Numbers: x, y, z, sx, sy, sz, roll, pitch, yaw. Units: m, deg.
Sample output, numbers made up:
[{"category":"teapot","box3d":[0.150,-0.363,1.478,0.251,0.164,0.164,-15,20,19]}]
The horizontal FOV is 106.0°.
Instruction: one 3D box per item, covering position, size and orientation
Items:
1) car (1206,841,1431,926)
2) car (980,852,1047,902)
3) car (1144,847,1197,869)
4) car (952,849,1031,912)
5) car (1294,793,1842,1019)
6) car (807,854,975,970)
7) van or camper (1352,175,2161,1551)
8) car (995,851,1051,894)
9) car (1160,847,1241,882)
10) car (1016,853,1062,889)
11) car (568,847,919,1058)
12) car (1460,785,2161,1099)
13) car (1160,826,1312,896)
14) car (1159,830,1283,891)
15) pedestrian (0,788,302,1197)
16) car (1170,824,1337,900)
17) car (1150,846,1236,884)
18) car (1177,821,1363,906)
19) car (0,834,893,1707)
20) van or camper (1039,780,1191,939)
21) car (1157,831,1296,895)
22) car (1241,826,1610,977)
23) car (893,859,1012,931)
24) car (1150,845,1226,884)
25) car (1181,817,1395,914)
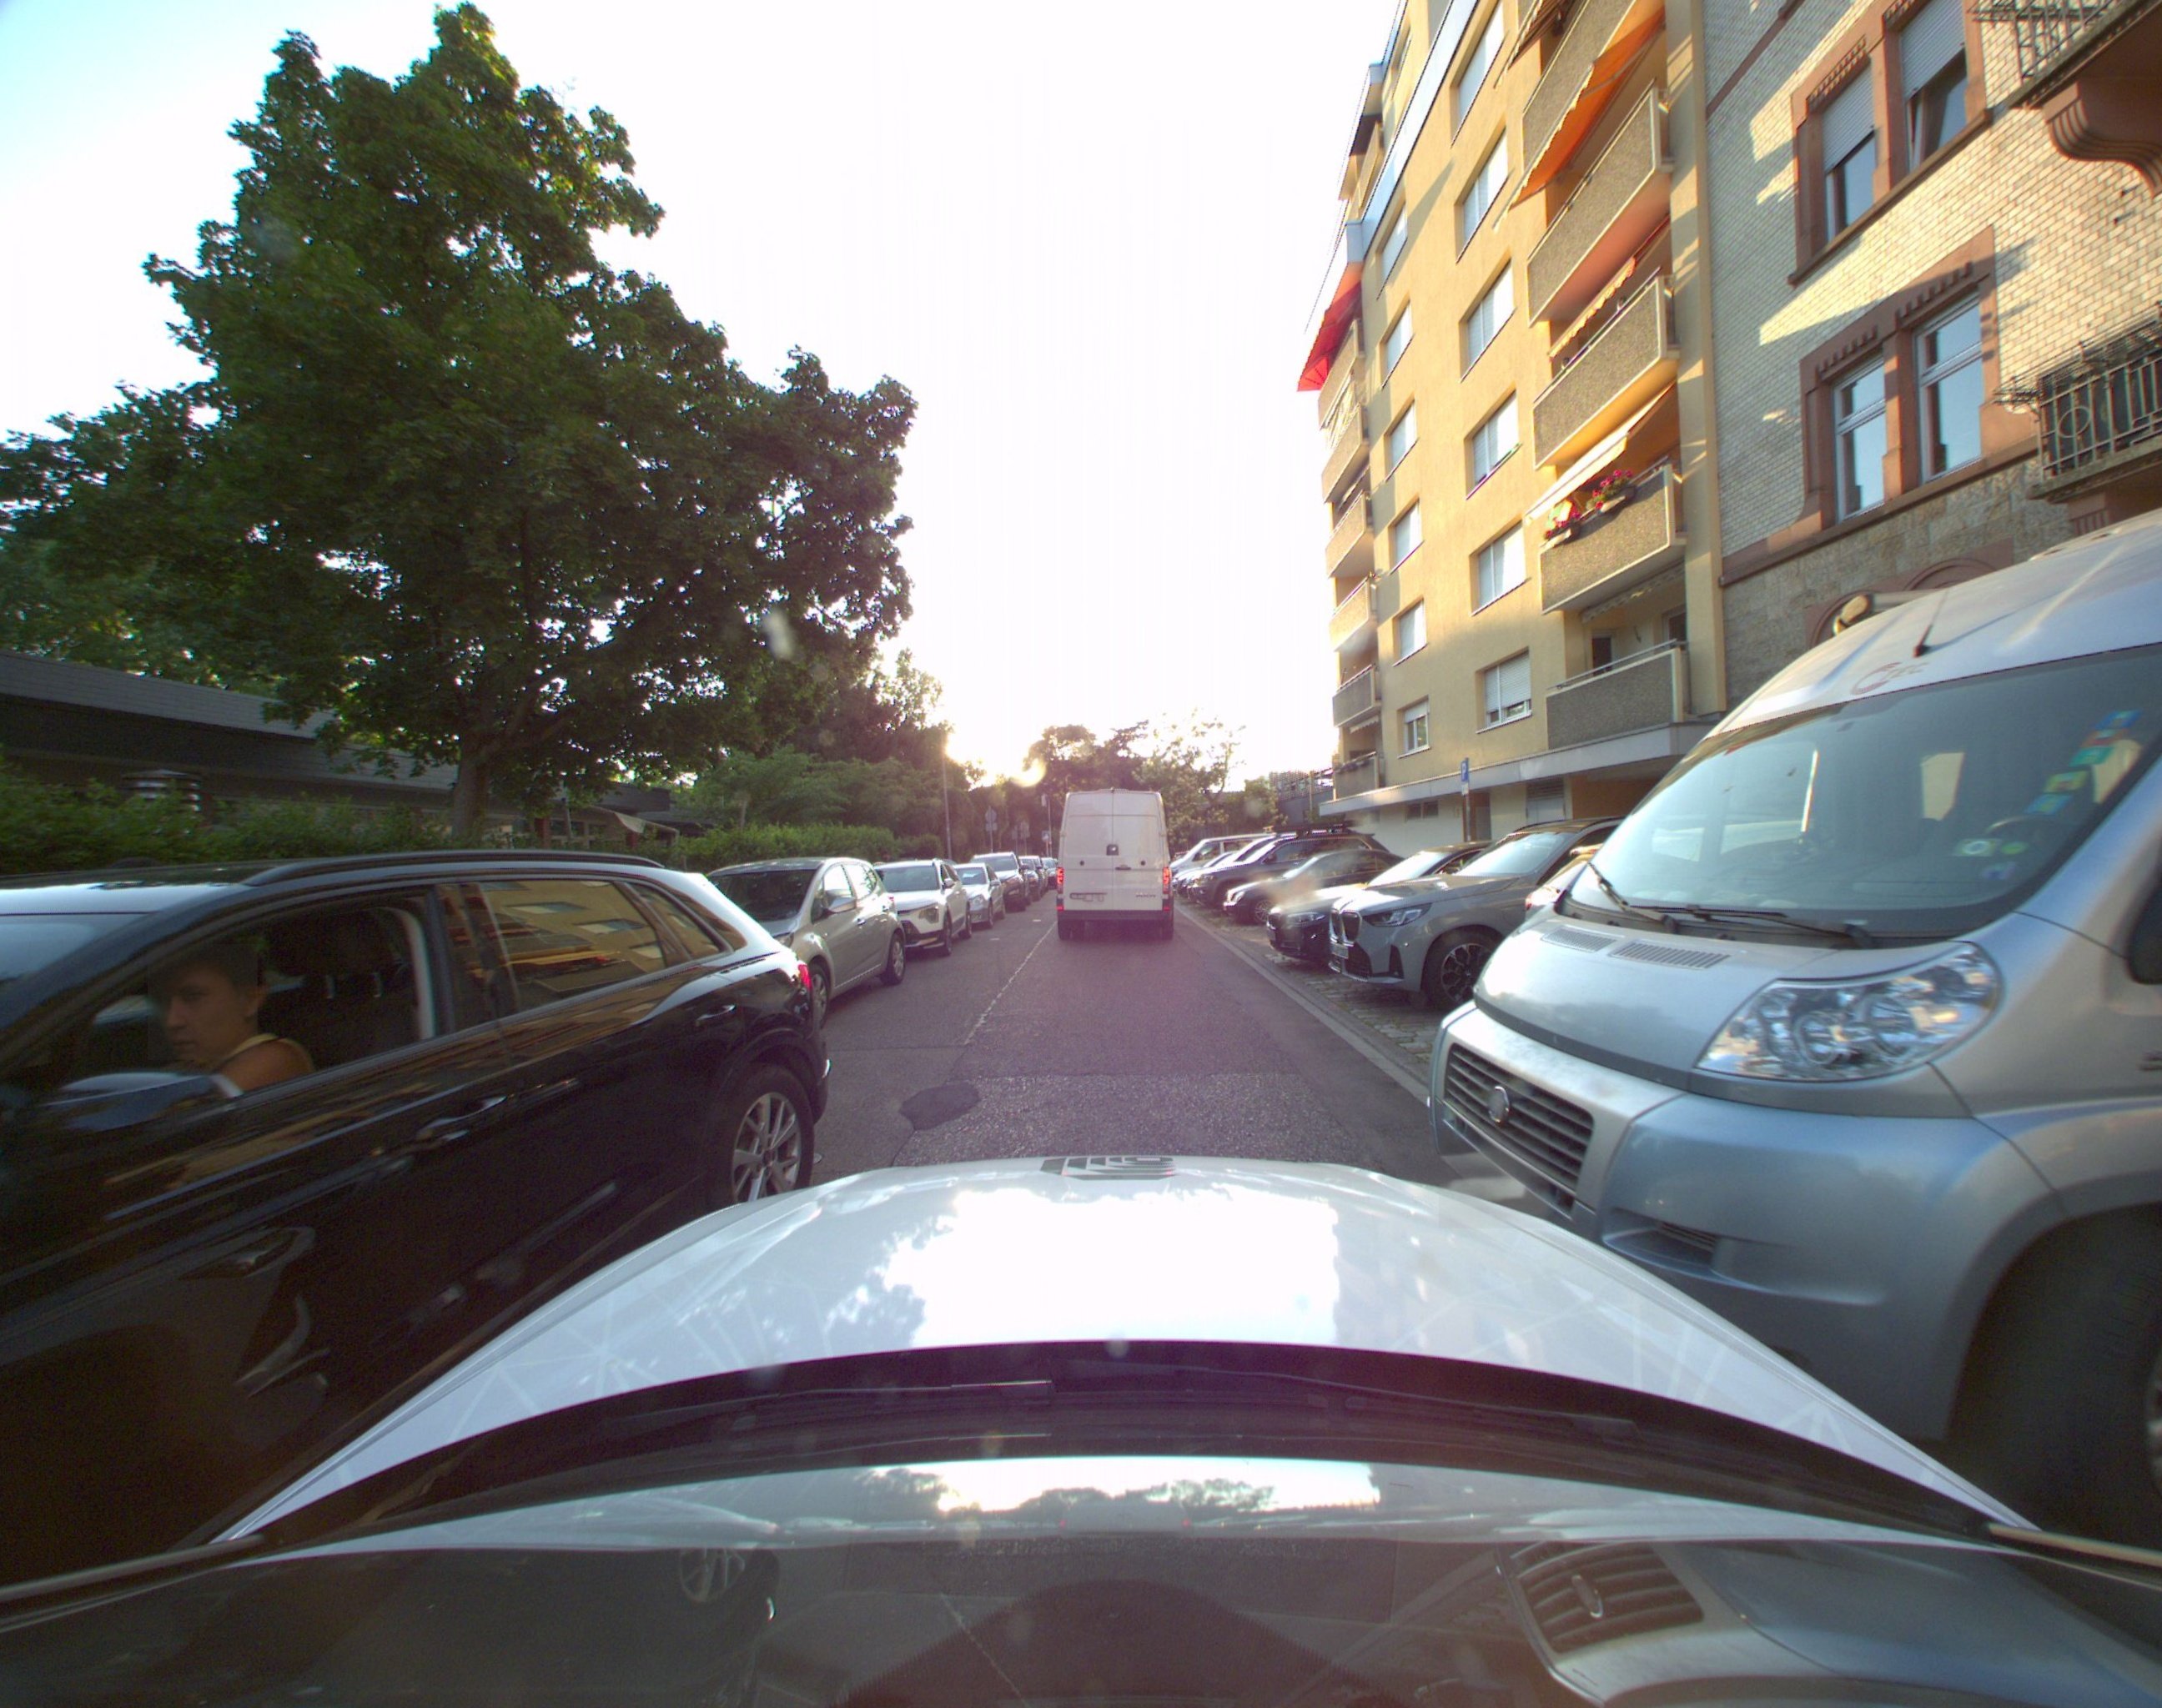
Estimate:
[{"category":"car","box3d":[4.912,0.595,17.249,4.222,1.425,1.719,-4,0,1]},{"category":"car","box3d":[-2.344,0.757,29.251,1.987,1.618,4.000,-1,0,0]},{"category":"car","box3d":[7.139,0.325,65.029,3.977,1.618,1.998,-1,0,-2]},{"category":"car","box3d":[-2.540,0.713,24.044,1.989,1.662,3.996,-1,0,-2]},{"category":"car","box3d":[4.610,0.431,8.086,4.427,1.728,1.769,-3,0,-5]},{"category":"car","box3d":[-3.004,0.833,13.786,1.851,1.555,4.098,-4,0,-1]},{"category":"van or camper","box3d":[4.216,-0.040,2.703,5.908,2.770,2.110,-1,0,0]},{"category":"car","box3d":[-2.319,0.722,33.565,1.987,1.618,4.000,-1,0,0]},{"category":"car","box3d":[6.212,0.526,42.759,3.971,1.728,2.001,-1,0,2]},{"category":"car","box3d":[-1.969,0.766,39.281,1.987,1.618,4.000,-1,0,0]},{"category":"car","box3d":[-3.212,0.817,8.758,1.775,1.631,4.004,-4,0,4]},{"category":"car","box3d":[5.256,0.449,5.647,4.427,1.595,1.769,-3,0,-5]},{"category":"car","box3d":[5.095,0.231,27.236,4.691,2.145,2.000,-1,0,0]},{"category":"car","box3d":[5.400,0.246,31.864,4.480,2.230,2.032,-1,0,1]},{"category":"pedestrian","box3d":[-4.758,0.627,4.072,0.934,1.830,0.787,-1,0,0]},{"category":"car","box3d":[5.190,0.238,25.001,4.691,2.145,2.000,-1,0,0]},{"category":"car","box3d":[5.400,0.541,39.736,3.971,1.728,2.001,-1,0,2]},{"category":"car","box3d":[5.128,0.246,22.573,4.691,2.145,2.000,-1,0,0]},{"category":"car","box3d":[-2.252,0.794,2.062,1.793,1.569,4.577,-3,0,9]},{"category":"van or camper","box3d":[0.785,0.086,16.185,2.442,2.547,6.091,0,0,4]},{"category":"car","box3d":[5.211,0.319,29.681,4.691,2.145,2.000,-1,0,0]},{"category":"car","box3d":[4.321,0.558,10.656,3.978,1.453,1.834,-5,0,-3]},{"category":"car","box3d":[-2.804,0.862,18.747,1.986,1.398,4.001,-1,0,1]},{"category":"car","box3d":[5.879,0.558,45.088,3.970,2.013,2.002,-1,0,3]},{"category":"car","box3d":[4.934,0.257,19.905,4.691,2.145,2.000,-1,0,0]}]
